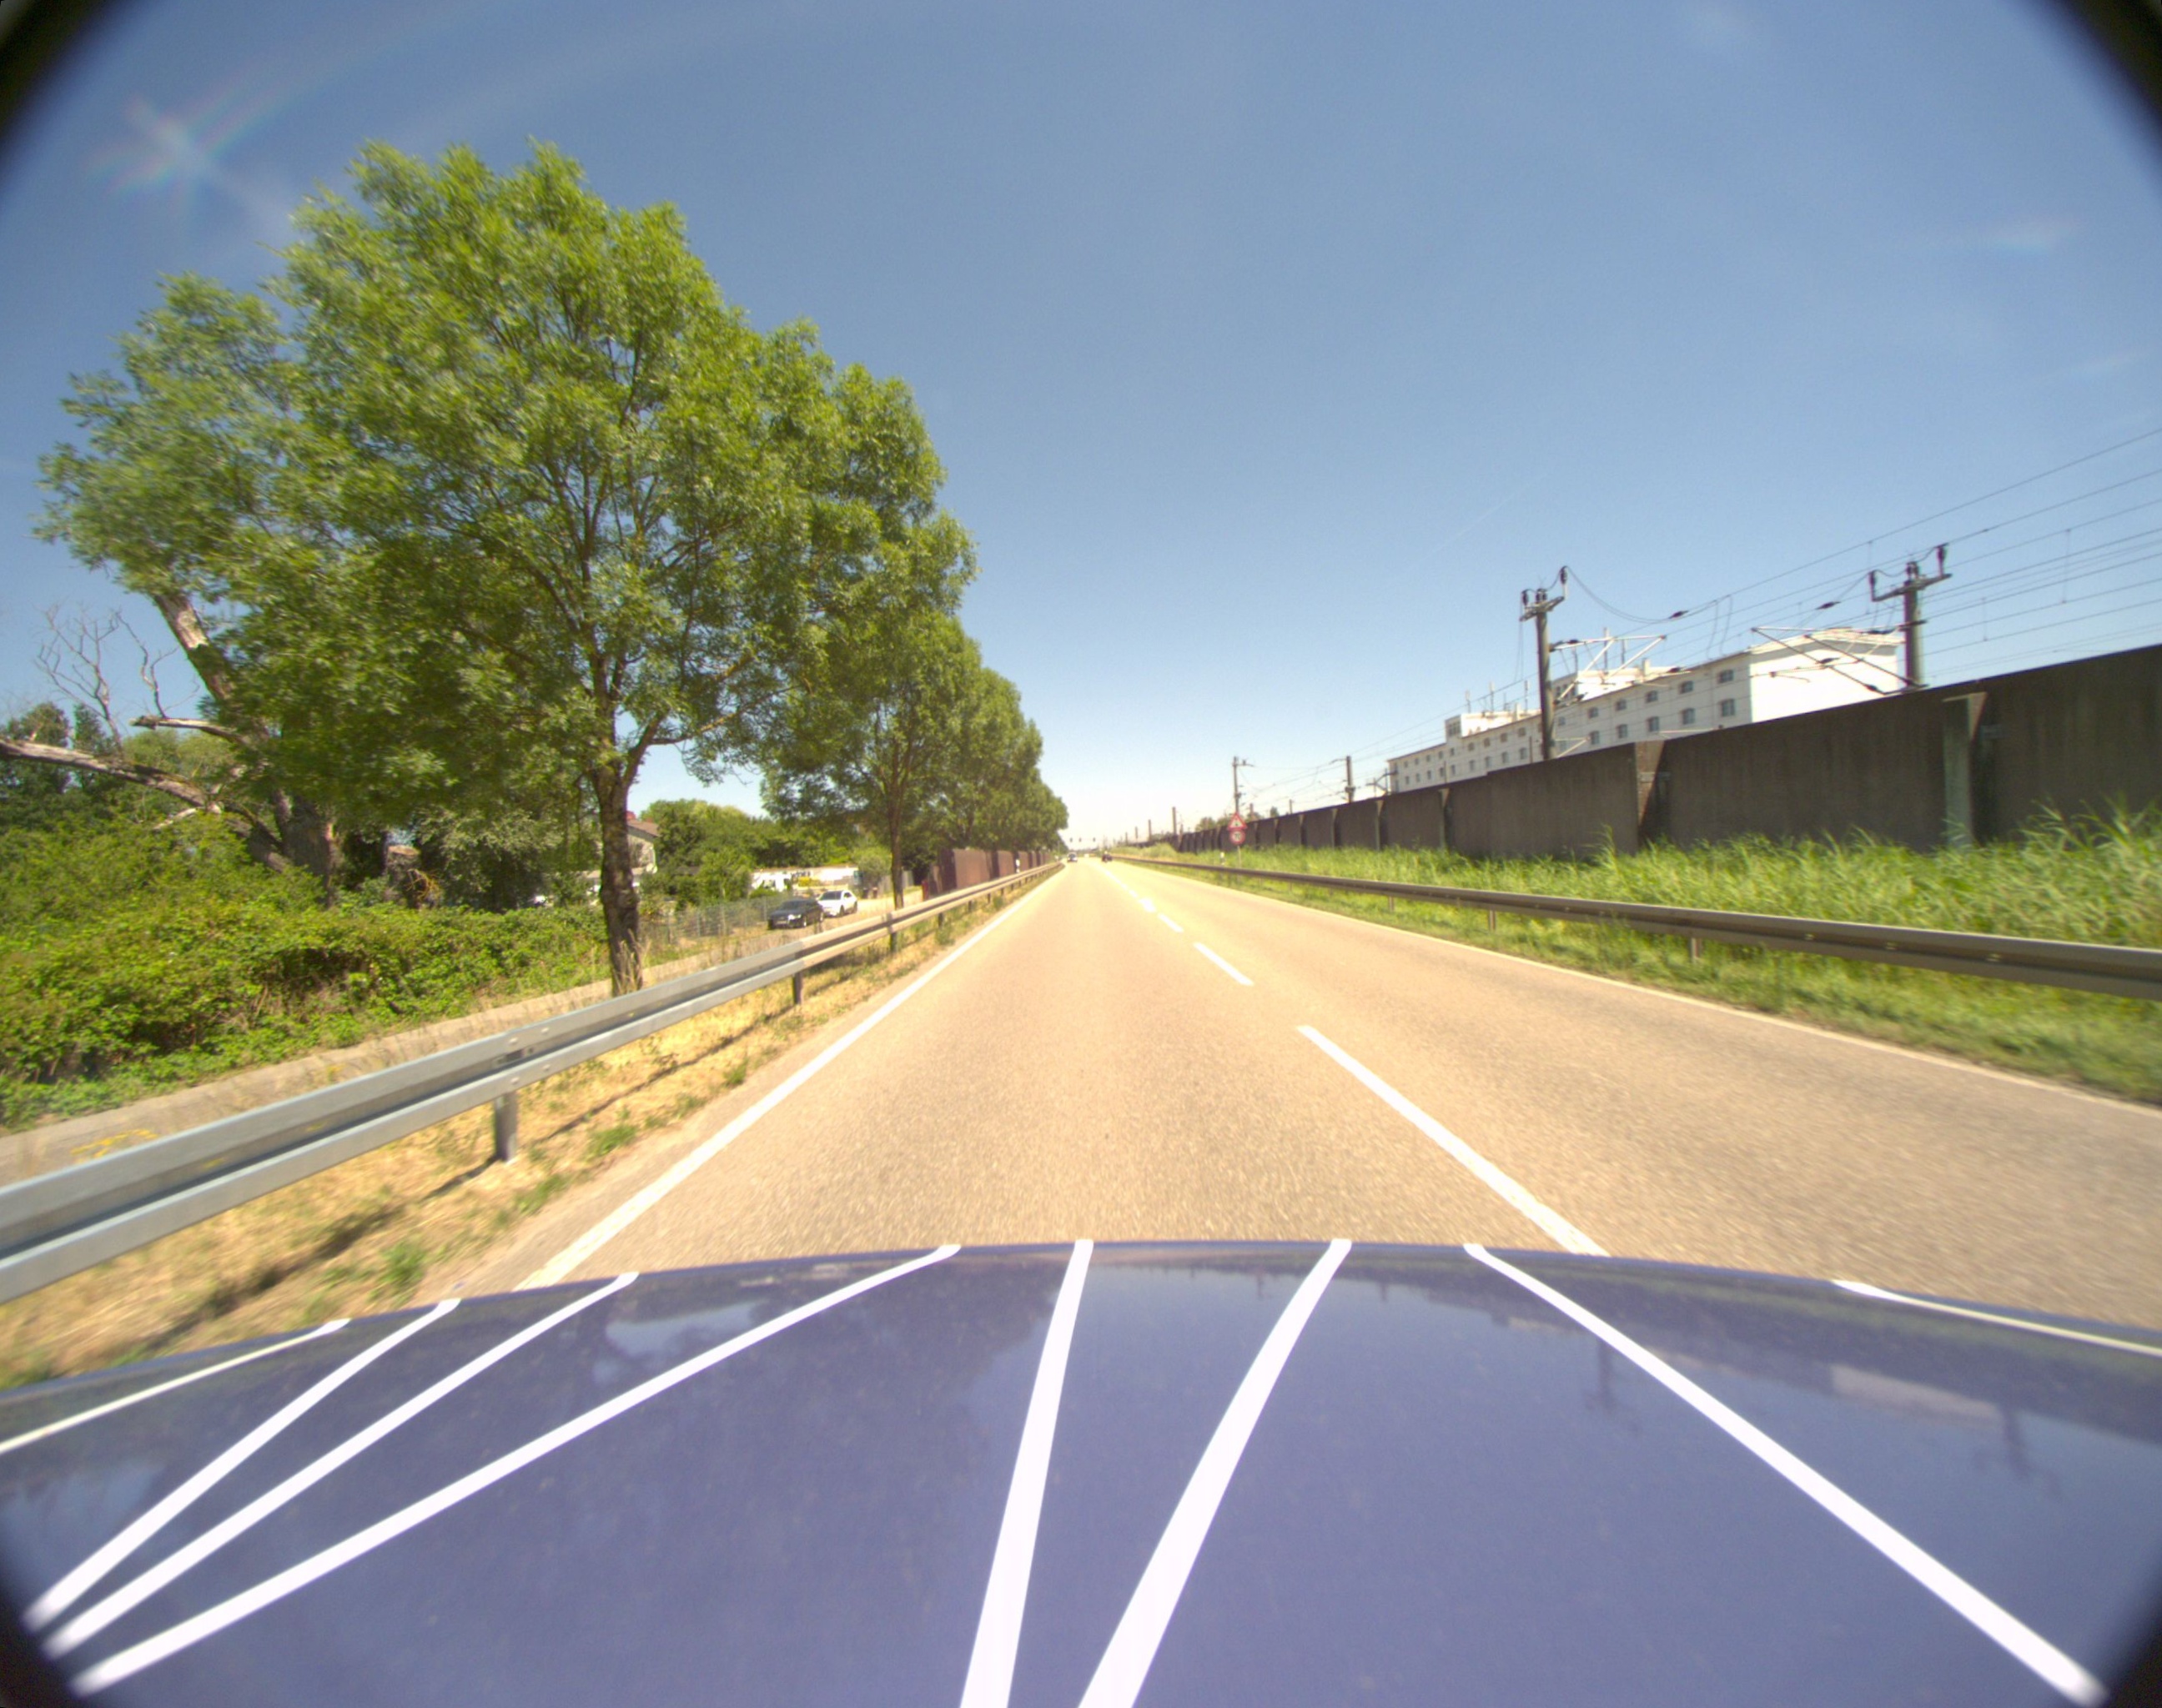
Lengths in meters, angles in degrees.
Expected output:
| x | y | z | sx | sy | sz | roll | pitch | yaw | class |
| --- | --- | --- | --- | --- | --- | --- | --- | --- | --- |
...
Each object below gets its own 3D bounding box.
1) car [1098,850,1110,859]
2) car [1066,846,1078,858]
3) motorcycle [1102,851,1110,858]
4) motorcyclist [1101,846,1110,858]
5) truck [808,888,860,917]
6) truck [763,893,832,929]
| x | y | z | sx | sy | sz | roll | pitch | yaw | class |
| --- | --- | --- | --- | --- | --- | --- | --- | --- | --- |
| 4.176 | 0.060 | 137.723 | 1.999 | 1.499 | 3.999 | -2 | 0 | -1 | car |
| -1.654 | -0.383 | 140.756 | 1.999 | 2.002 | 3.999 | -2 | 0 | -2 | car |
| 3.888 | 0.115 | 118.509 | 1.240 | 1.066 | 3.129 | -2 | 0 | 0 | motorcycle |
| 3.846 | -0.297 | 118.590 | 1.257 | 1.853 | 1.245 | -2 | 1 | 0 | motorcyclist |
| -15.709 | 3.076 | 48.532 | 1.895 | 1.535 | 4.000 | -1 | 0 | 1 | truck |
| -15.758 | 3.145 | 42.523 | 1.887 | 1.562 | 4.902 | -2 | 0 | 1 | truck |
